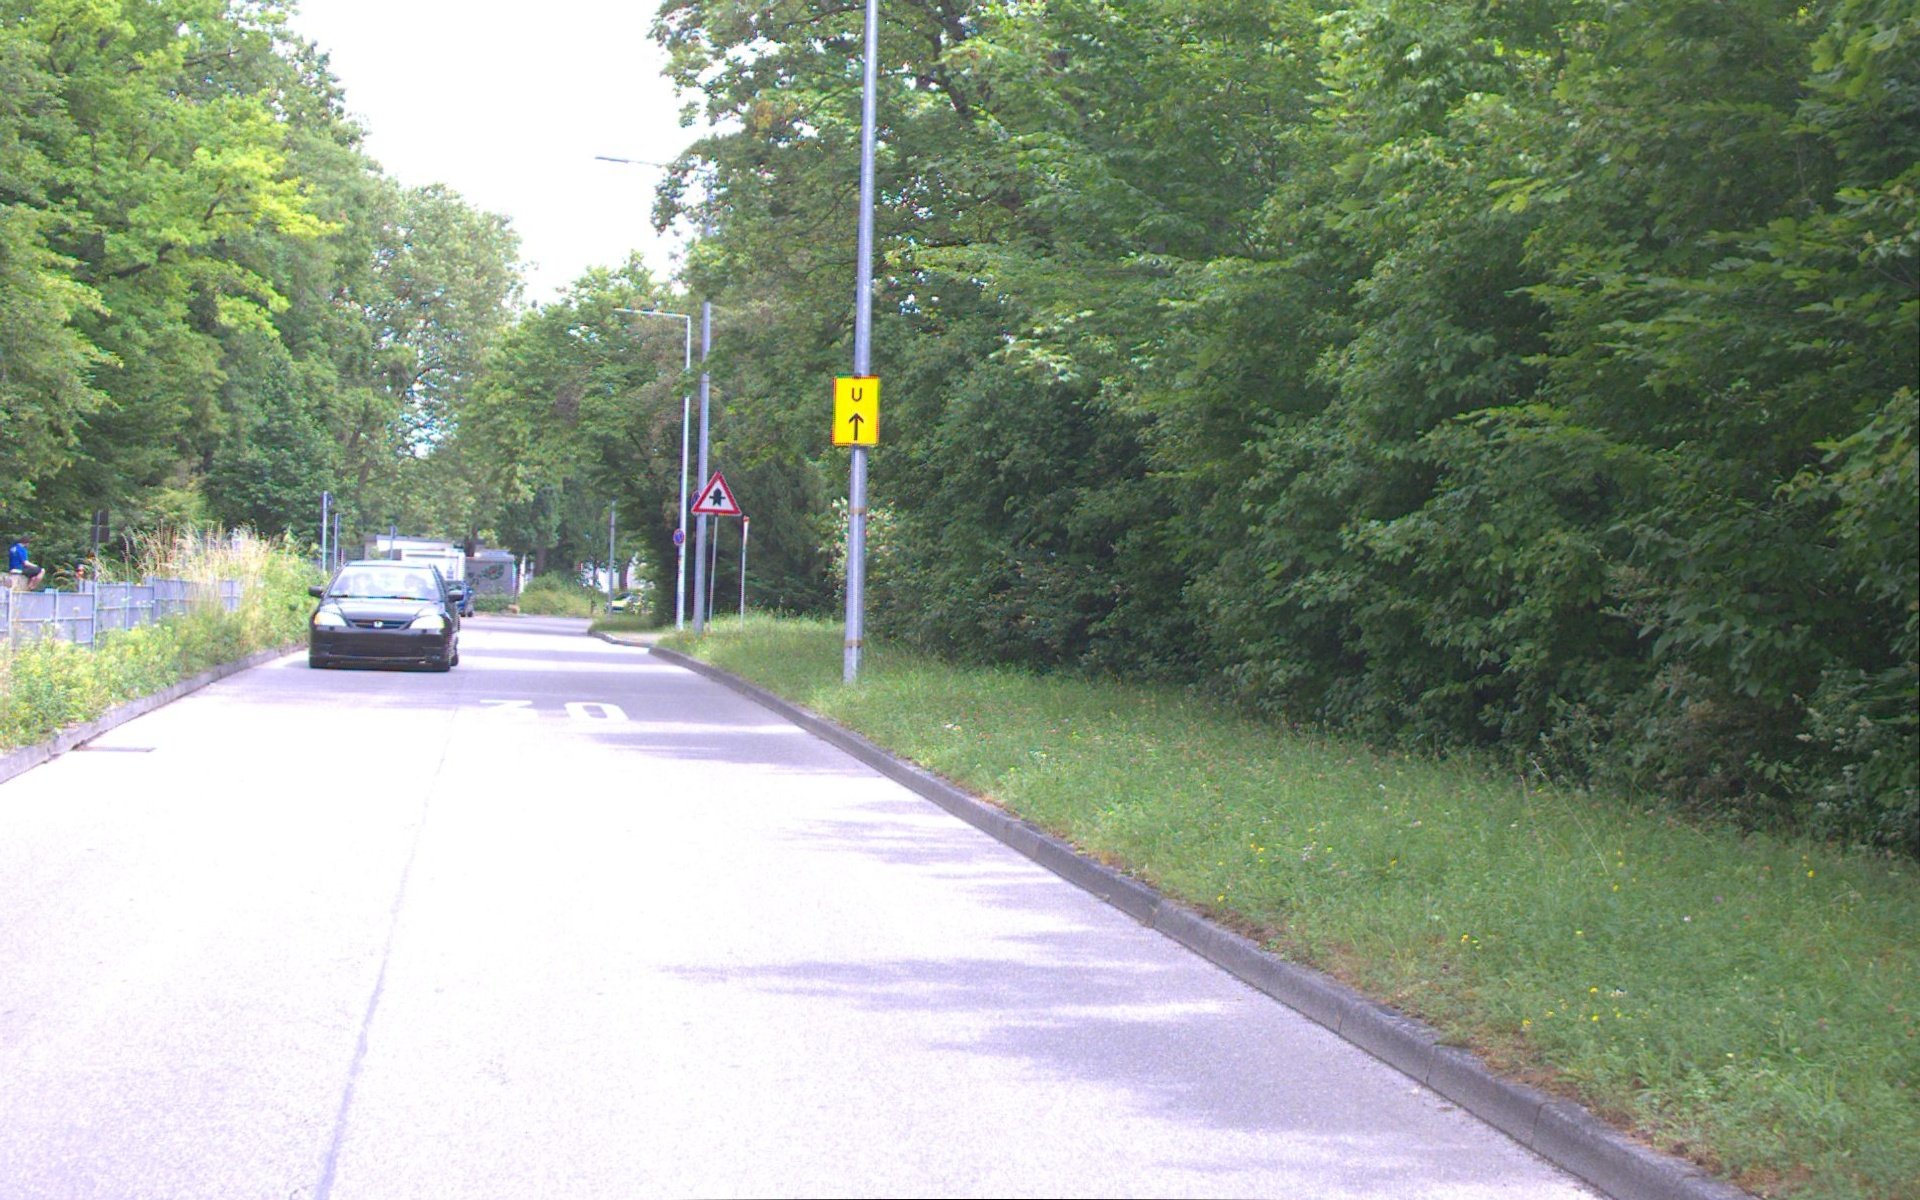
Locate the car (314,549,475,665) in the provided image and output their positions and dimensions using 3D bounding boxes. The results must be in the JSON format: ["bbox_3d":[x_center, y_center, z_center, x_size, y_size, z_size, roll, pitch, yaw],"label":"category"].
[{"bbox_3d":[-7.007,0.053,42.875,1.692,1.344,4.095,1,1,-6],"label":"car"}]

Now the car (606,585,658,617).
[{"bbox_3d":[-17.023,0.041,178.651,1.860,1.487,3.998,-1,-2,7],"label":"car"}]

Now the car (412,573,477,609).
[{"bbox_3d":[-21.068,-0.378,140.703,1.979,1.379,4.000,3,0,0],"label":"car"}]

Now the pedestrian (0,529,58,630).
[{"bbox_3d":[-18.911,-0.409,69.641,0.877,2.007,0.865,-2,-3,38],"label":"pedestrian"}]
